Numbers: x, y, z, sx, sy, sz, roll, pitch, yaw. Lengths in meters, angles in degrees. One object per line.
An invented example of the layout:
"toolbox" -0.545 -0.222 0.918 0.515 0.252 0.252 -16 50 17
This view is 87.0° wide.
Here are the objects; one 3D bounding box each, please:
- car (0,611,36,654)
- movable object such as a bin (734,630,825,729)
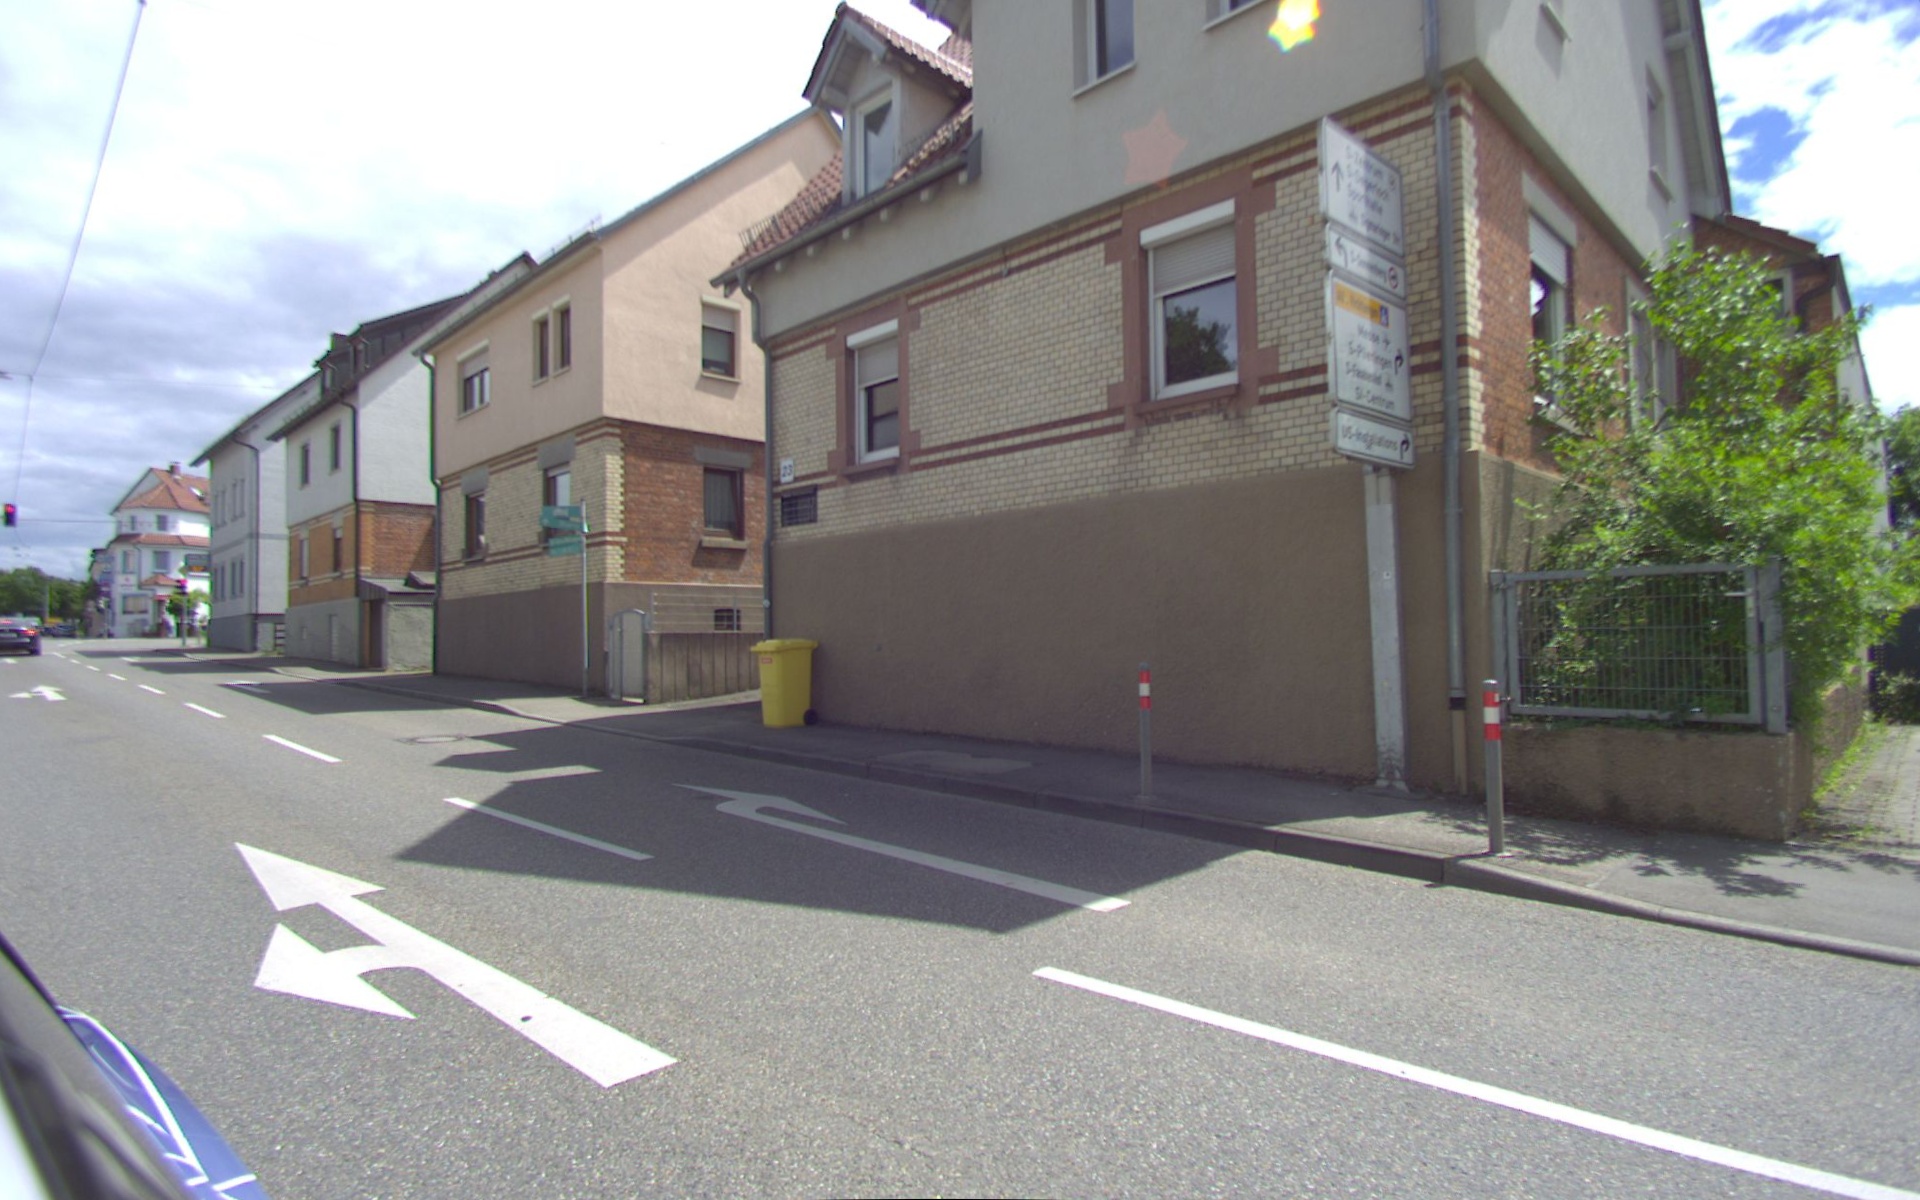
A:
"car" -35.198 1.220 37.123 1.770 1.497 4.002 -1 -1 -45
"movable object such as a bin" -2.240 0.978 12.542 0.755 1.170 0.803 1 -5 -44
